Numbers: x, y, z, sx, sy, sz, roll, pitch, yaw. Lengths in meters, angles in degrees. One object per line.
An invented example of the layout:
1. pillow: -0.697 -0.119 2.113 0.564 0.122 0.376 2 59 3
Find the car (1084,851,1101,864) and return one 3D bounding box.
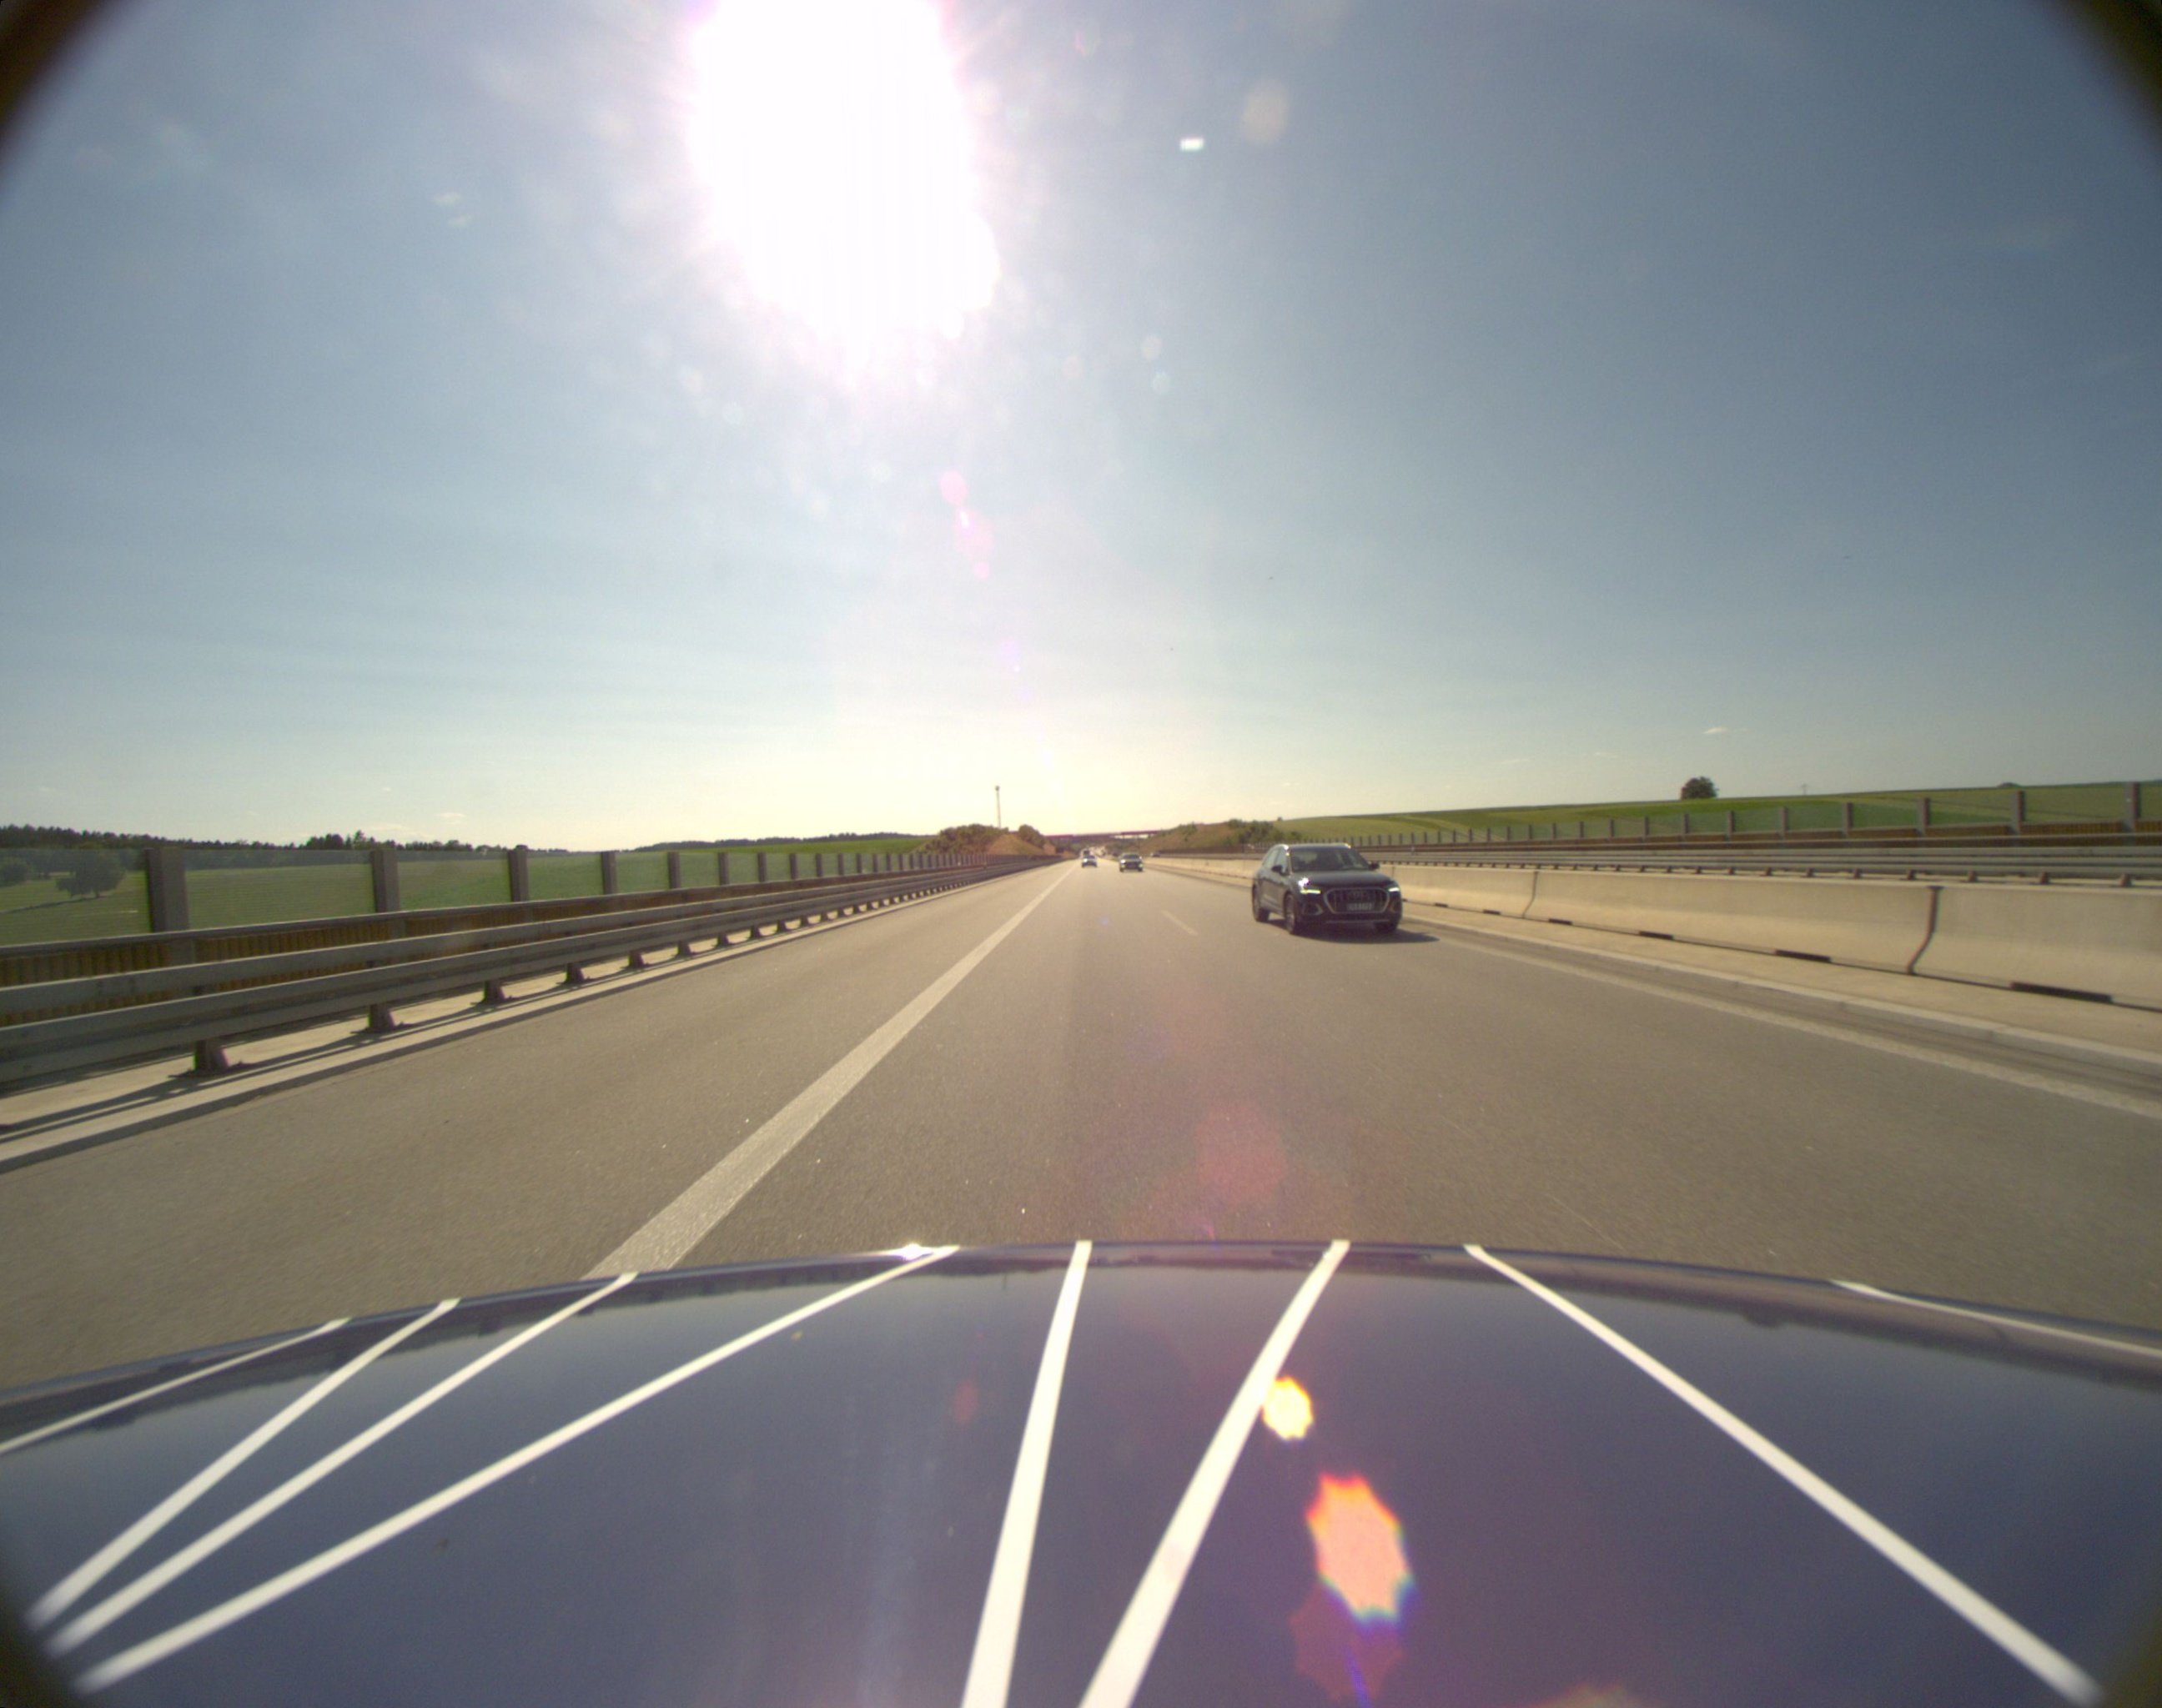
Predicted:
1. car: 1.394 0.382 89.049 1.909 1.449 4.376 -2 0 2

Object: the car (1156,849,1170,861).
1. car: 14.989 0.120 139.084 1.998 2.002 4.761 -2 1 2

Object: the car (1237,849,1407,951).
1. car: 4.441 0.729 14.898 1.726 1.578 5.222 -2 0 1

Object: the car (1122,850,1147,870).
1. car: 4.446 0.469 63.625 1.776 1.560 4.988 -2 0 1
